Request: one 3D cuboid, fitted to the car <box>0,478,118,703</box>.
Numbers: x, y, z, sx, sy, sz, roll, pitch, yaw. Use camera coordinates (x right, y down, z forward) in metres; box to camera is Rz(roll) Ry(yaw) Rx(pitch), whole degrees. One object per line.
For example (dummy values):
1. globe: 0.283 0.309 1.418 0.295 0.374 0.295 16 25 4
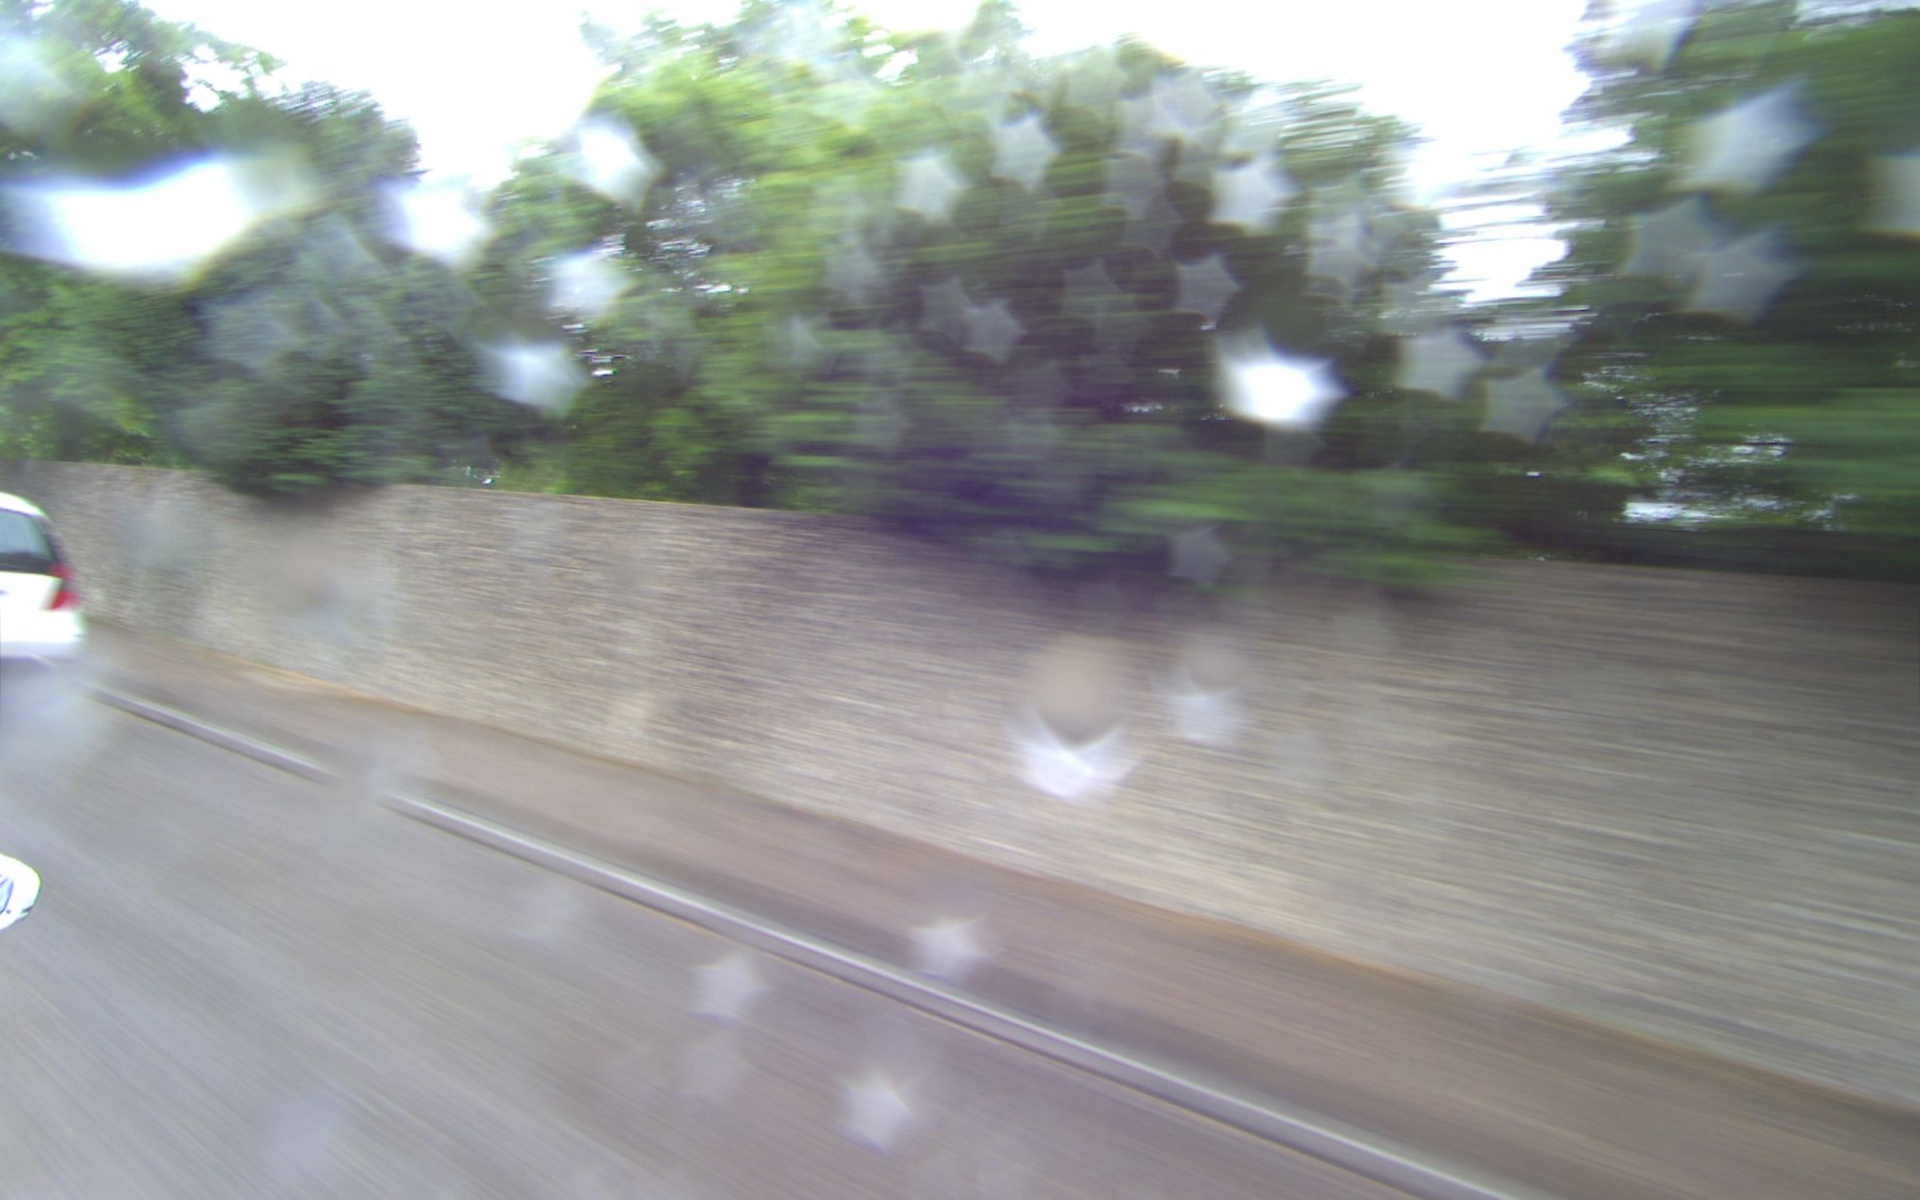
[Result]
1. car: -8.647 -0.254 8.002 3.817 1.591 1.818 6 -3 33
